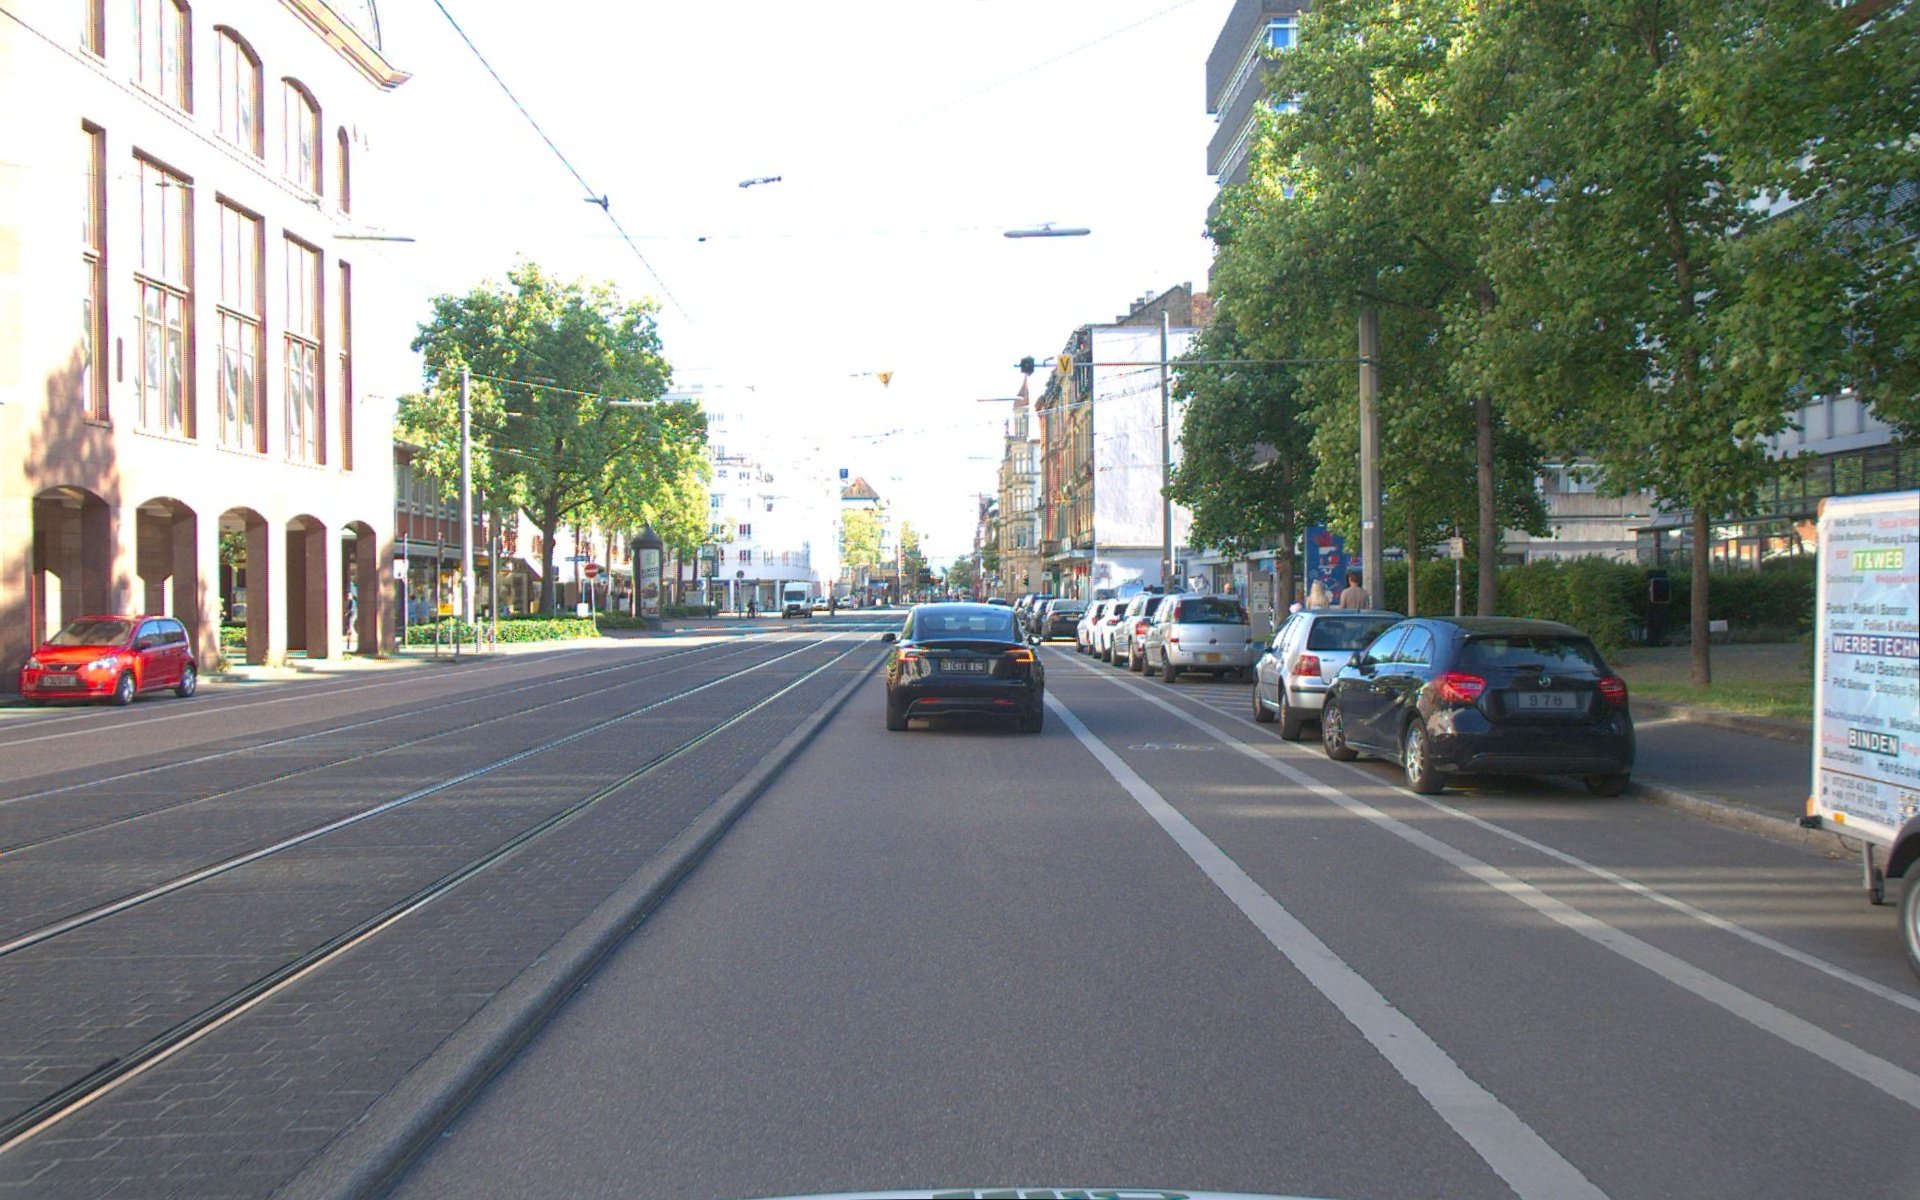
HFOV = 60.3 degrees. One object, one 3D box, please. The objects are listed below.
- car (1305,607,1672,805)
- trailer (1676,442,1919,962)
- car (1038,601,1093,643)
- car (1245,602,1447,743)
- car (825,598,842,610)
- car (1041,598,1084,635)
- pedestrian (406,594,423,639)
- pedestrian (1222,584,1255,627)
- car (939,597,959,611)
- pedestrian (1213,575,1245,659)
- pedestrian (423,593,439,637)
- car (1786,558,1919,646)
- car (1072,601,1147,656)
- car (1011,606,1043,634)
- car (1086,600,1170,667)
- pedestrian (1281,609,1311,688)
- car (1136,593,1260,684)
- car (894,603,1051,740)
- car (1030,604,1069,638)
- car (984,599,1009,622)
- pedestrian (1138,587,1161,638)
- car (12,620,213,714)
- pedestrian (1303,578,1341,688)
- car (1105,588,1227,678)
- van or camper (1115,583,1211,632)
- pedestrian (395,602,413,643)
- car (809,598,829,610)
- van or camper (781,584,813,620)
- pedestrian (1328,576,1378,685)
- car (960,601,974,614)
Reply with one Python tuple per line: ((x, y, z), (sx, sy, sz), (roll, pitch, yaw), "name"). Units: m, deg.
((4.529, 0.828, 14.896), (1.766, 1.460, 4.322), (2, 0, -2), "car")
((4.803, 0.435, 7.319), (1.626, 2.154, 3.843), (1, 0, 1), "trailer")
((3.841, 0.806, 60.939), (1.676, 1.482, 4.549), (0, 0, -1), "car")
((4.511, 0.780, 19.908), (1.713, 1.468, 4.317), (0, 0, 4), "car")
((-16.735, 0.482, 218.322), (1.953, 1.521, 3.999), (-1, 0, -1), "car")
((4.136, 0.673, 67.079), (1.546, 1.472, 3.309), (0, -1, 0), "car")
((-23.126, 0.699, 70.172), (0.580, 1.905, 0.537), (1, 0, -10), "pedestrian")
((11.602, 0.230, 68.933), (1.130, 1.759, 1.043), (-1, 1, 24), "pedestrian")
((-1.218, 0.473, 185.259), (1.954, 1.552, 3.996), (0, 0, -5), "car")
((5.955, 0.376, 36.615), (0.598, 1.839, 0.603), (-2, -1, 4), "pedestrian")
((-22.458, 0.642, 70.271), (0.535, 1.833, 0.587), (1, 0, -10), "pedestrian")
((18.032, -0.018, 32.006), (1.754, 1.563, 4.307), (-1, 1, -4), "car")
((4.265, 0.793, 47.621), (1.570, 1.469, 3.882), (2, 0, -3), "car")
((3.771, 1.125, 93.529), (1.680, 1.498, 3.719), (-1, 0, 0), "car")
((4.251, 0.811, 42.360), (1.510, 1.597, 4.441), (1, 0, -2), "car")
((6.234, 0.891, 30.690), (0.446, 1.422, 0.423), (-3, 0, 4), "pedestrian")
((4.521, 0.683, 31.924), (1.679, 1.618, 4.064), (1, 0, -2), "car")
((0.090, 0.777, 19.753), (1.685, 1.430, 3.709), (1, 0, -2), "car")
((3.894, 0.915, 72.436), (1.431, 1.457, 3.812), (0, -1, -1), "car")
((2.436, 0.692, 111.334), (1.561, 1.458, 3.686), (-1, 0, 0), "car")
((6.903, 0.454, 60.252), (0.707, 1.844, 0.889), (-1, -1, -1), "pedestrian")
((-14.503, 1.107, 28.517), (1.625, 1.447, 3.619), (1, 0, -1), "car")
((6.680, 0.600, 30.559), (0.455, 1.988, 0.748), (-4, 0, 4), "pedestrian")
((4.490, 0.669, 36.767), (1.887, 1.866, 4.709), (0, 0, -3), "car")
((10.163, 0.369, 82.944), (4.547, 2.173, 1.988), (-3, -1, 3), "van or camper")
((-25.645, 1.048, 76.311), (0.614, 1.879, 0.672), (1, 0, -4), "pedestrian")
((-16.490, 0.478, 193.486), (1.953, 1.392, 3.999), (-1, 0, -1), "car")
((-12.730, 0.155, 129.450), (2.097, 2.700, 6.877), (-1, 0, -2), "van or camper")
((7.246, 0.552, 30.516), (0.654, 1.930, 0.748), (-4, 0, 4), "pedestrian")
((0.989, 1.026, 222.331), (1.808, 1.620, 4.000), (-2, 0, 0), "car")
